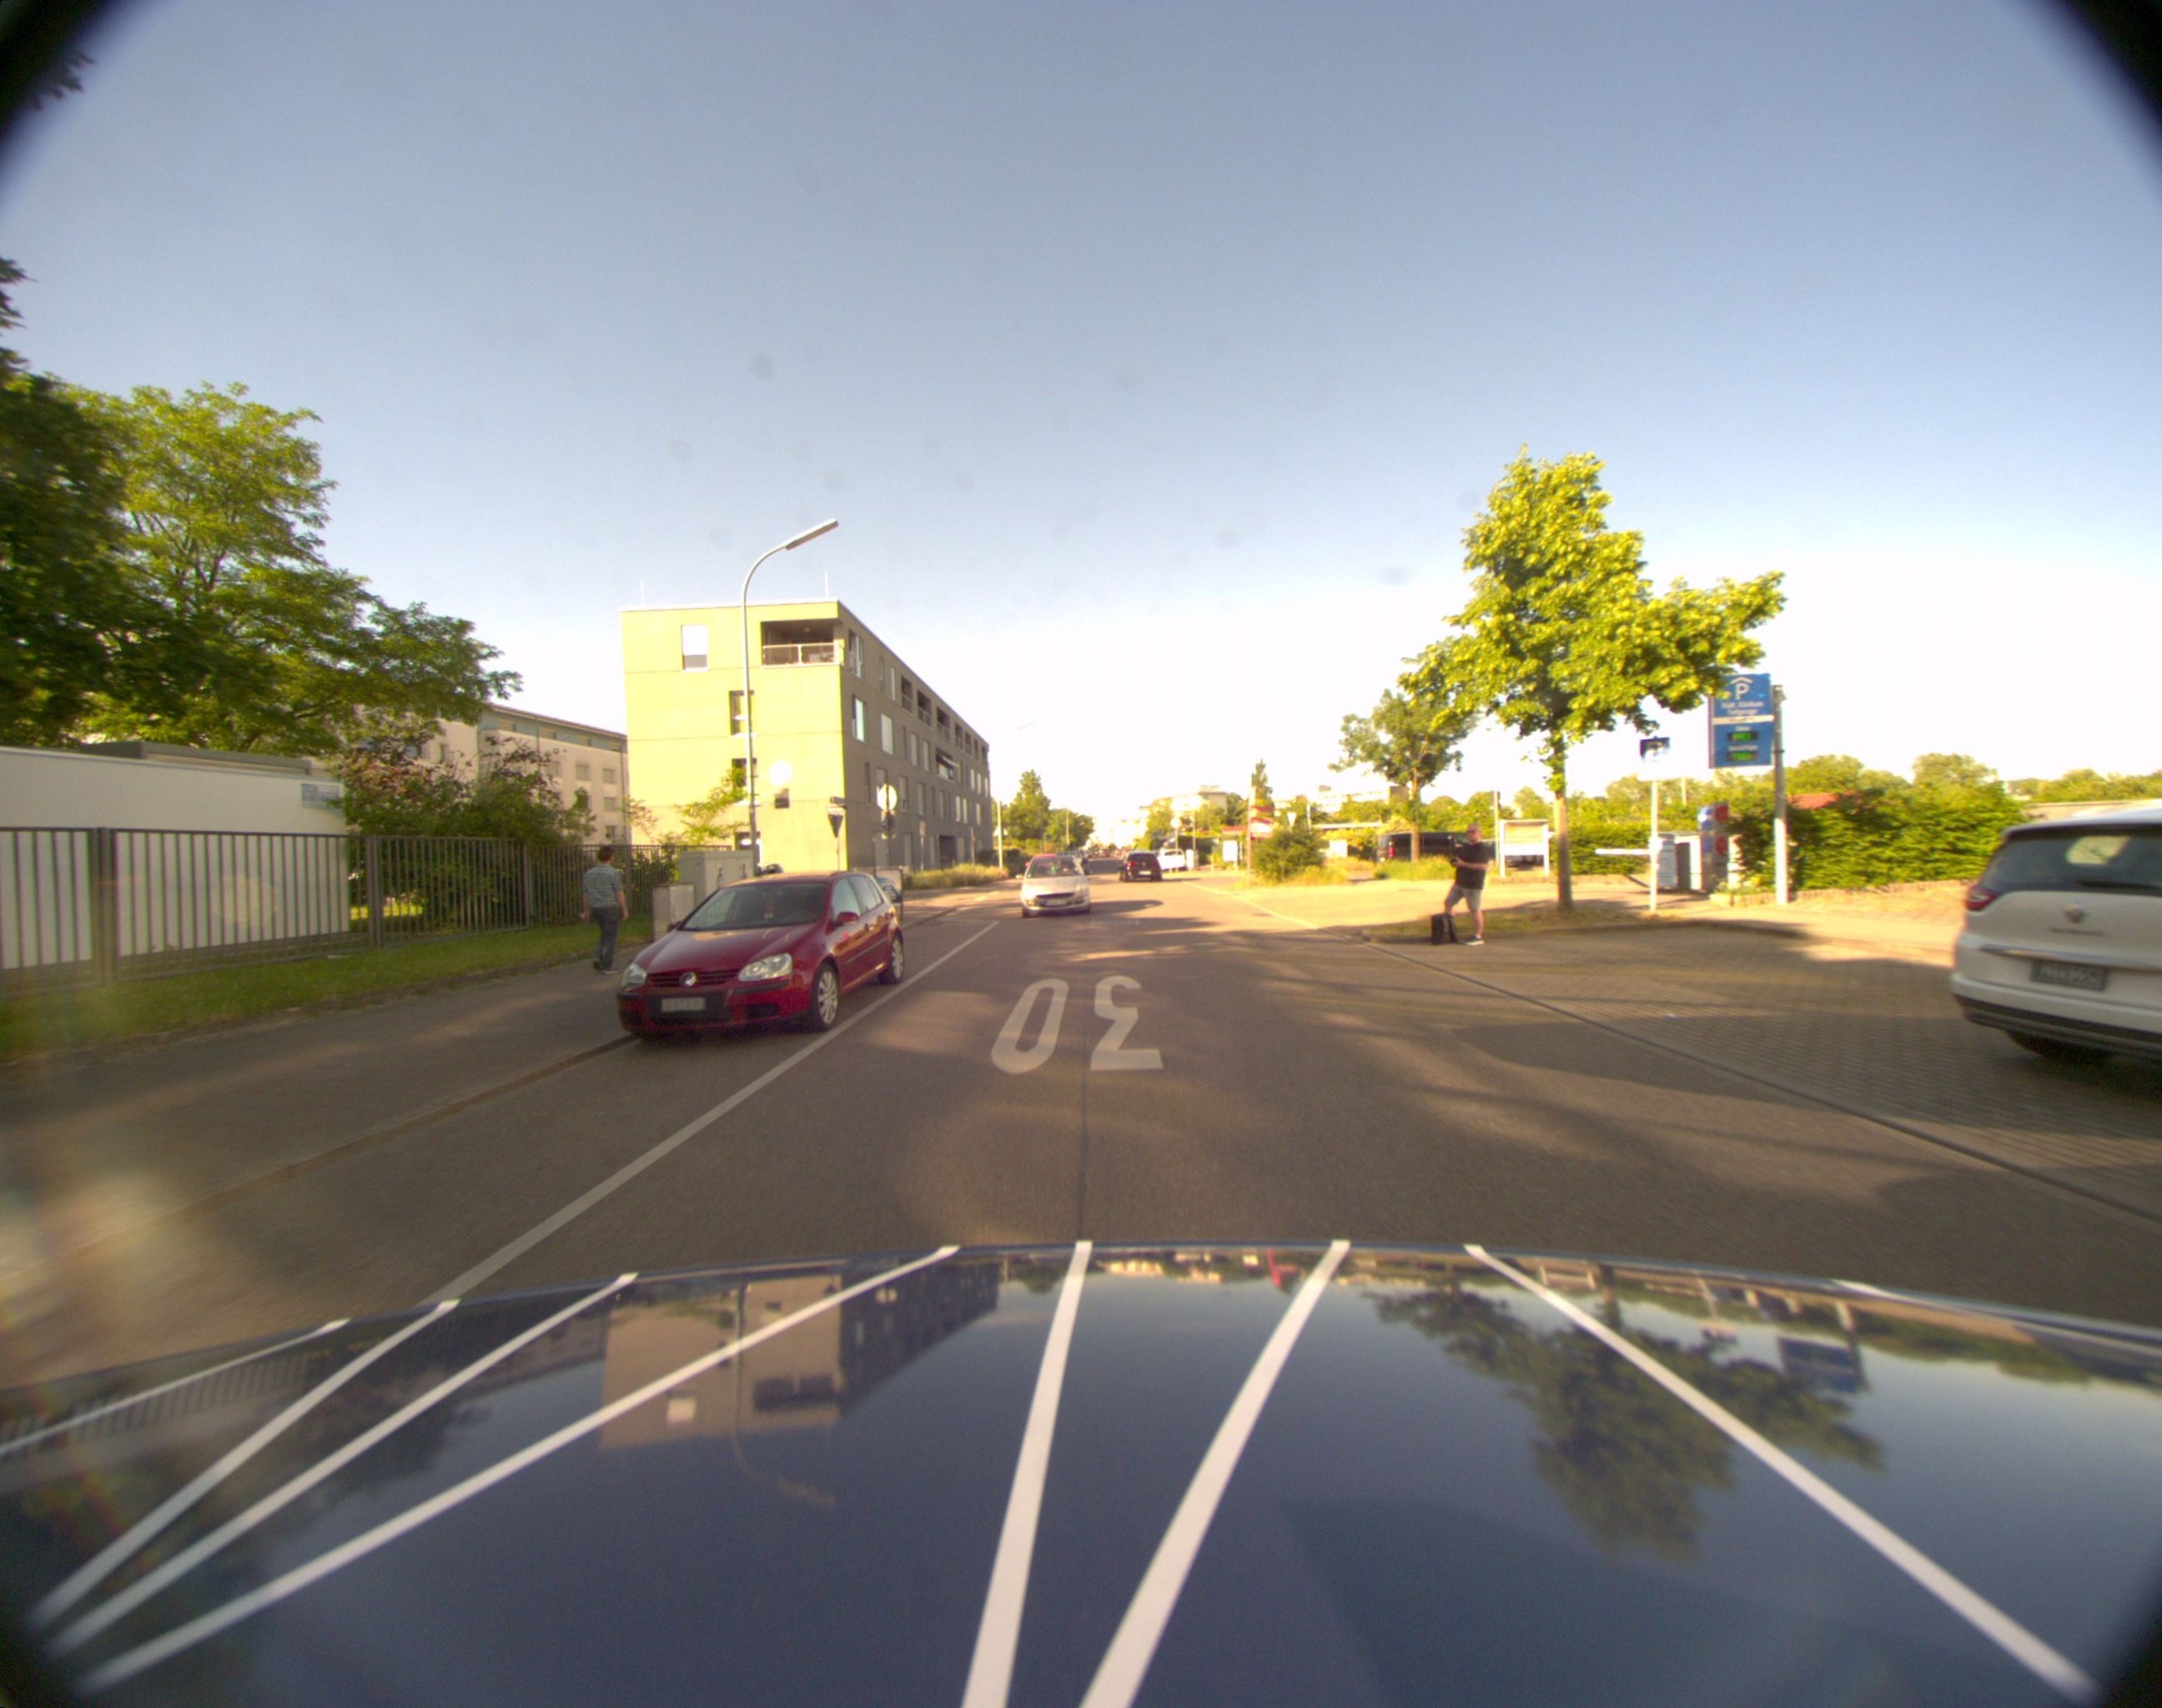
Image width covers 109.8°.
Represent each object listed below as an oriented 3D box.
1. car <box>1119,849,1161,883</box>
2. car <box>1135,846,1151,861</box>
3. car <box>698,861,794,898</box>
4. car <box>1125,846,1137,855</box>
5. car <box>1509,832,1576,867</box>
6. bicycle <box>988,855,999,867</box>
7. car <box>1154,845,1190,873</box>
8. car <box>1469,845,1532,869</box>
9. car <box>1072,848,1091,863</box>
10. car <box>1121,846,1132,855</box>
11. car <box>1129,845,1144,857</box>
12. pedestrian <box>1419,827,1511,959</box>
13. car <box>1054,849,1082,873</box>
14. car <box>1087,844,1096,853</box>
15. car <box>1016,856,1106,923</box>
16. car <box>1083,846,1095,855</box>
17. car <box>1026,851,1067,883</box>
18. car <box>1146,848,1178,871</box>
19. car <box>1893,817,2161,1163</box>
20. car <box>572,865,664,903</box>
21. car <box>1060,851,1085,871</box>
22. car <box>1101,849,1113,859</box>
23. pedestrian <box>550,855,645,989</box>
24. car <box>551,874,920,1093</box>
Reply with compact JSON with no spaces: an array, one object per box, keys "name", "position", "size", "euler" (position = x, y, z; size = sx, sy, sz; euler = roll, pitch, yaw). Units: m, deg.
[{"name":"car","position":[2.724,0.516,35.755],"size":[1.708,1.443,4.086],"euler":[-1,1,1]},{"name":"car","position":[6.766,-0.059,83.027],"size":[1.531,1.479,3.401],"euler":[-2,1,1]},{"name":"car","position":[-14.427,1.075,32.853],"size":[3.333,1.450,1.715],"euler":[-2,1,7]},{"name":"car","position":[7.769,-0.565,118.899],"size":[1.700,1.421,4.386],"euler":[-2,1,1]},{"name":"car","position":[23.783,-0.226,39.290],"size":[1.509,1.685,3.848],"euler":[-2,1,7]},{"name":"bicycle","position":[-8.161,0.643,70.953],"size":[0.553,1.055,1.842],"euler":[-3,1,6]},{"name":"car","position":[5.572,0.303,47.149],"size":[1.700,1.504,4.517],"euler":[-5,0,1]},{"name":"car","position":[21.375,0.126,38.842],"size":[1.509,1.145,3.848],"euler":[-2,1,7]},{"name":"car","position":[0.082,0.128,86.275],"size":[1.749,1.558,4.803],"euler":[-4,1,3]},{"name":"car","position":[7.653,-0.637,128.871],"size":[1.700,1.361,3.910],"euler":[-2,1,1]},{"name":"car","position":[7.336,-0.384,100.463],"size":[1.700,1.415,4.517],"euler":[-4,1,1]},{"name":"pedestrian","position":[5.651,0.551,11.231],"size":[0.859,1.832,0.825],"euler":[-4,1,3]},{"name":"car","position":[-0.905,0.487,56.670],"size":[1.821,1.590,4.627],"euler":[-4,1,1]},{"name":"car","position":[2.515,-1.168,174.763],"size":[1.998,2.002,4.000],"euler":[-1,1,2]},{"name":"car","position":[-0.402,0.823,19.493],"size":[1.678,1.440,4.001],"euler":[-1,1,7]},{"name":"car","position":[1.448,-0.560,137.697],"size":[1.873,1.517,4.155],"euler":[-2,1,2]},{"name":"car","position":[-1.760,0.632,40.202],"size":[1.823,1.491,4.452],"euler":[-3,1,1]},{"name":"car","position":[5.673,0.349,53.621],"size":[1.751,1.437,4.541],"euler":[-5,1,2]},{"name":"car","position":[7.527,0.578,3.830],"size":[4.622,1.641,1.868],"euler":[-2,1,5]},{"name":"car","position":[-21.397,1.351,35.331],"size":[1.697,1.511,4.000],"euler":[-1,1,2]},{"name":"car","position":[-0.699,0.529,62.740],"size":[1.749,1.421,4.586],"euler":[-4,1,2]},{"name":"car","position":[4.724,-0.065,136.661],"size":[1.947,1.717,4.839],"euler":[-1,0,3]},{"name":"pedestrian","position":[-6.617,0.897,10.436],"size":[0.719,1.748,0.885],"euler":[0,1,2]},{"name":"car","position":[-3.168,1.067,8.216],"size":[1.724,1.446,4.651],"euler":[-3,1,1]}]
